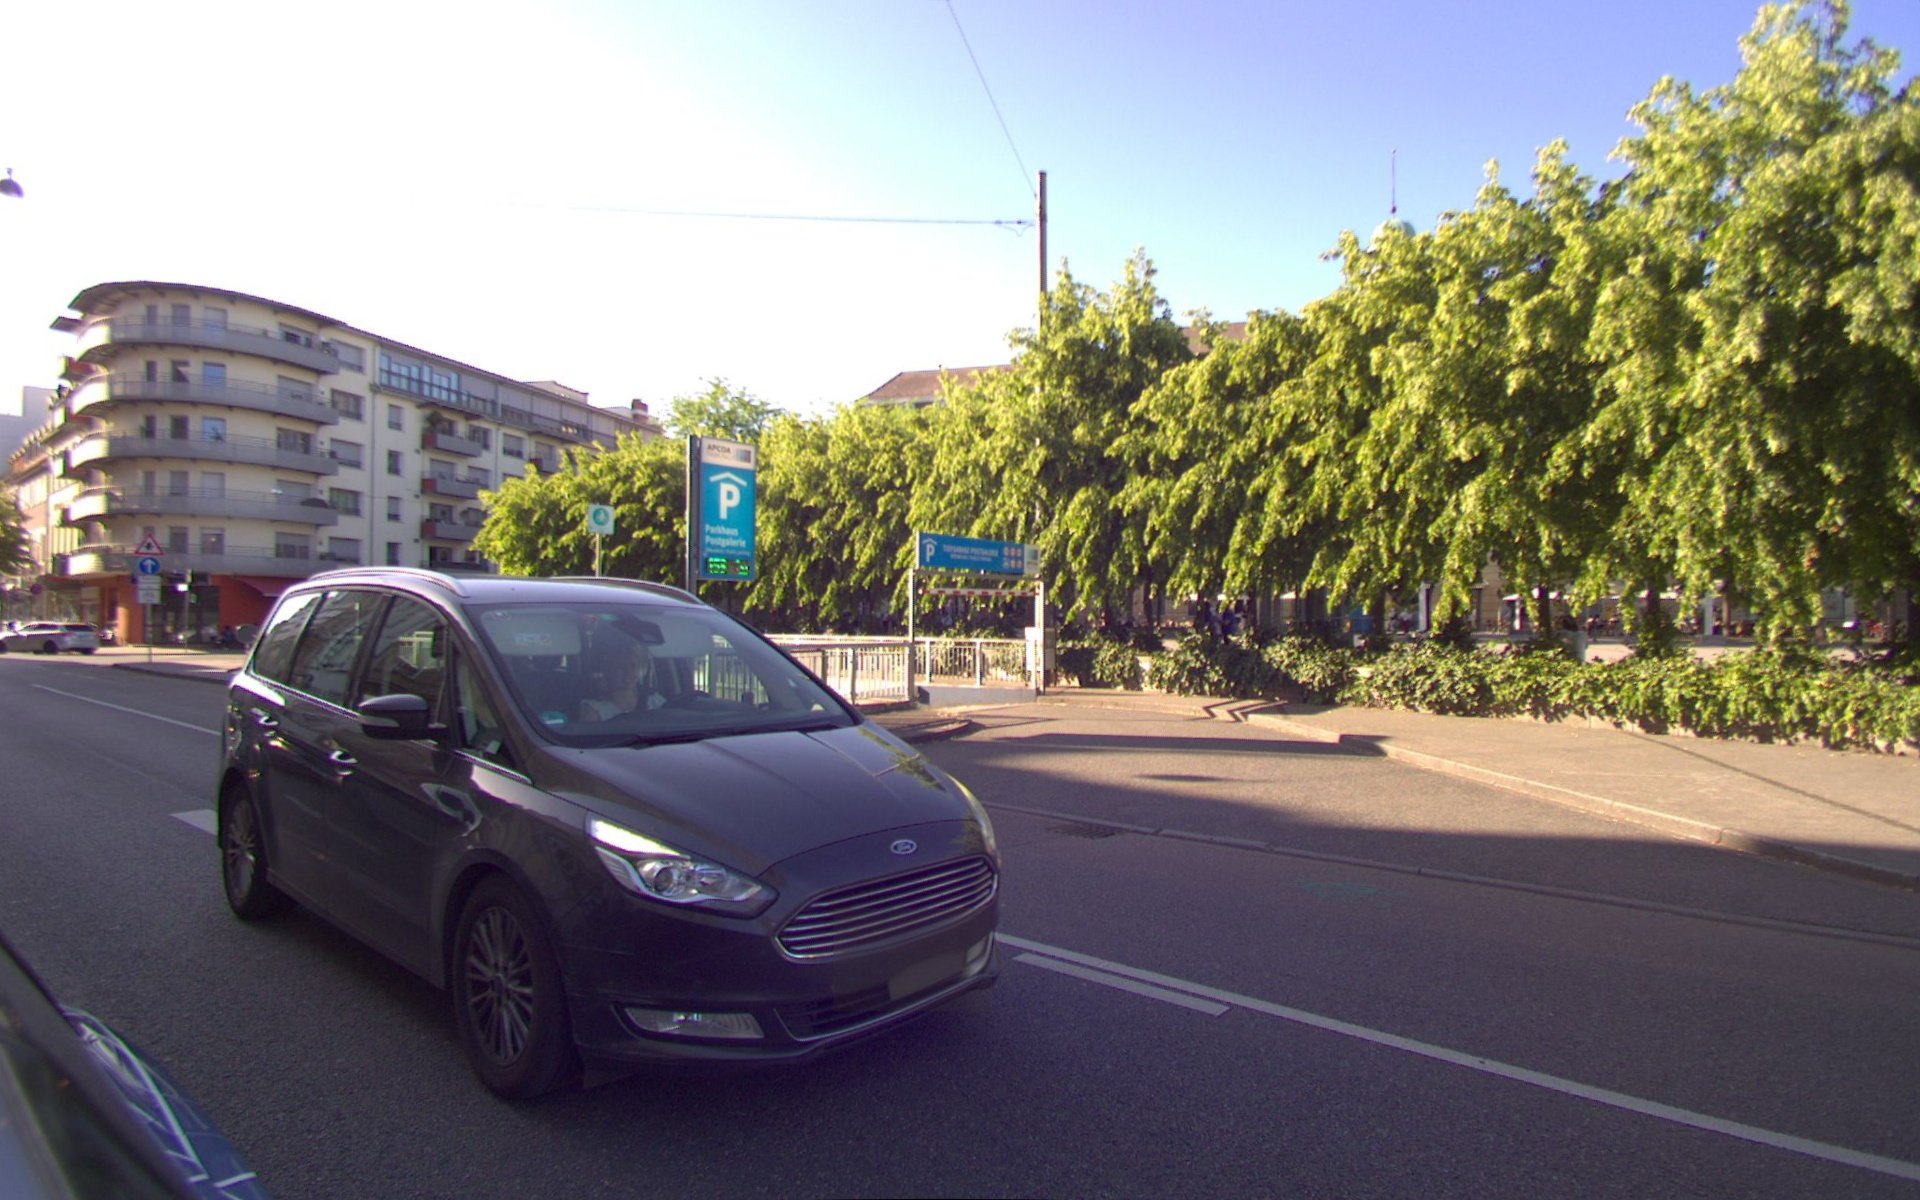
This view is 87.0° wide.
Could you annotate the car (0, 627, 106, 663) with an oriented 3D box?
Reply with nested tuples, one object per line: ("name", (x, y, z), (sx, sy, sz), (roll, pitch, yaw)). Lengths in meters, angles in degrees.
("car", (-38.662, 1.876, 42.594), (4.199, 1.445, 1.800), (-1, -1, 6))

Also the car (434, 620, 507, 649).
("car", (-30.513, 2.126, 63.196), (1.983, 1.763, 3.977), (-1, -1, 17))

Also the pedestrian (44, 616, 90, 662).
("pedestrian", (-40.742, 1.756, 46.187), (1.008, 2.029, 1.198), (-1, 0, 4))

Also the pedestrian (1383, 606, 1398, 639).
("pedestrian", (26.111, 1.351, 61.336), (0.751, 1.948, 0.938), (-1, -1, 20))

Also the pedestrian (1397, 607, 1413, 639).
("pedestrian", (26.857, 1.383, 61.105), (0.751, 1.948, 0.938), (-1, -1, 20))

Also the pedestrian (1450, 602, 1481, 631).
("pedestrian", (34.130, 1.101, 68.335), (1.431, 1.926, 1.257), (-1, -1, 0))

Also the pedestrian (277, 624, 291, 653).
("pedestrian", (-35.302, 2.018, 52.884), (0.573, 1.501, 0.794), (0, -1, -36))

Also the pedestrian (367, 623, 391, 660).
("pedestrian", (-28.506, 2.026, 49.642), (0.753, 1.819, 0.748), (-1, -1, 25))

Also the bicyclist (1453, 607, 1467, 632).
("bicyclist", (29.207, 1.136, 59.125), (0.669, 1.439, 0.693), (-1, -1, 23))

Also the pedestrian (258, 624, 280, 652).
("pedestrian", (-36.722, 2.023, 53.764), (0.782, 1.473, 0.582), (0, -1, 3))

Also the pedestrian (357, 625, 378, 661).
("pedestrian", (-28.768, 2.066, 49.121), (0.697, 1.719, 0.667), (-1, -1, 33))

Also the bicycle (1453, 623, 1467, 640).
("bicycle", (29.177, 1.848, 59.070), (0.585, 0.961, 1.892), (-1, -1, 23))

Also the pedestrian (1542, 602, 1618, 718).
("pedestrian", (9.782, 0.922, 15.970), (0.885, 1.771, 0.738), (0, -1, -39))

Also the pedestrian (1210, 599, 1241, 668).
("pedestrian", (6.554, 0.820, 25.022), (0.672, 1.683, 0.843), (-1, -1, 13))

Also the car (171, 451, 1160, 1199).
("car", (-1.686, 0.617, 4.544), (4.724, 1.785, 1.973), (-1, -2, 40))

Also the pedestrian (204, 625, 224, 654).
("pedestrian", (-37.725, 1.986, 51.193), (0.780, 1.472, 0.583), (0, -1, -40))
